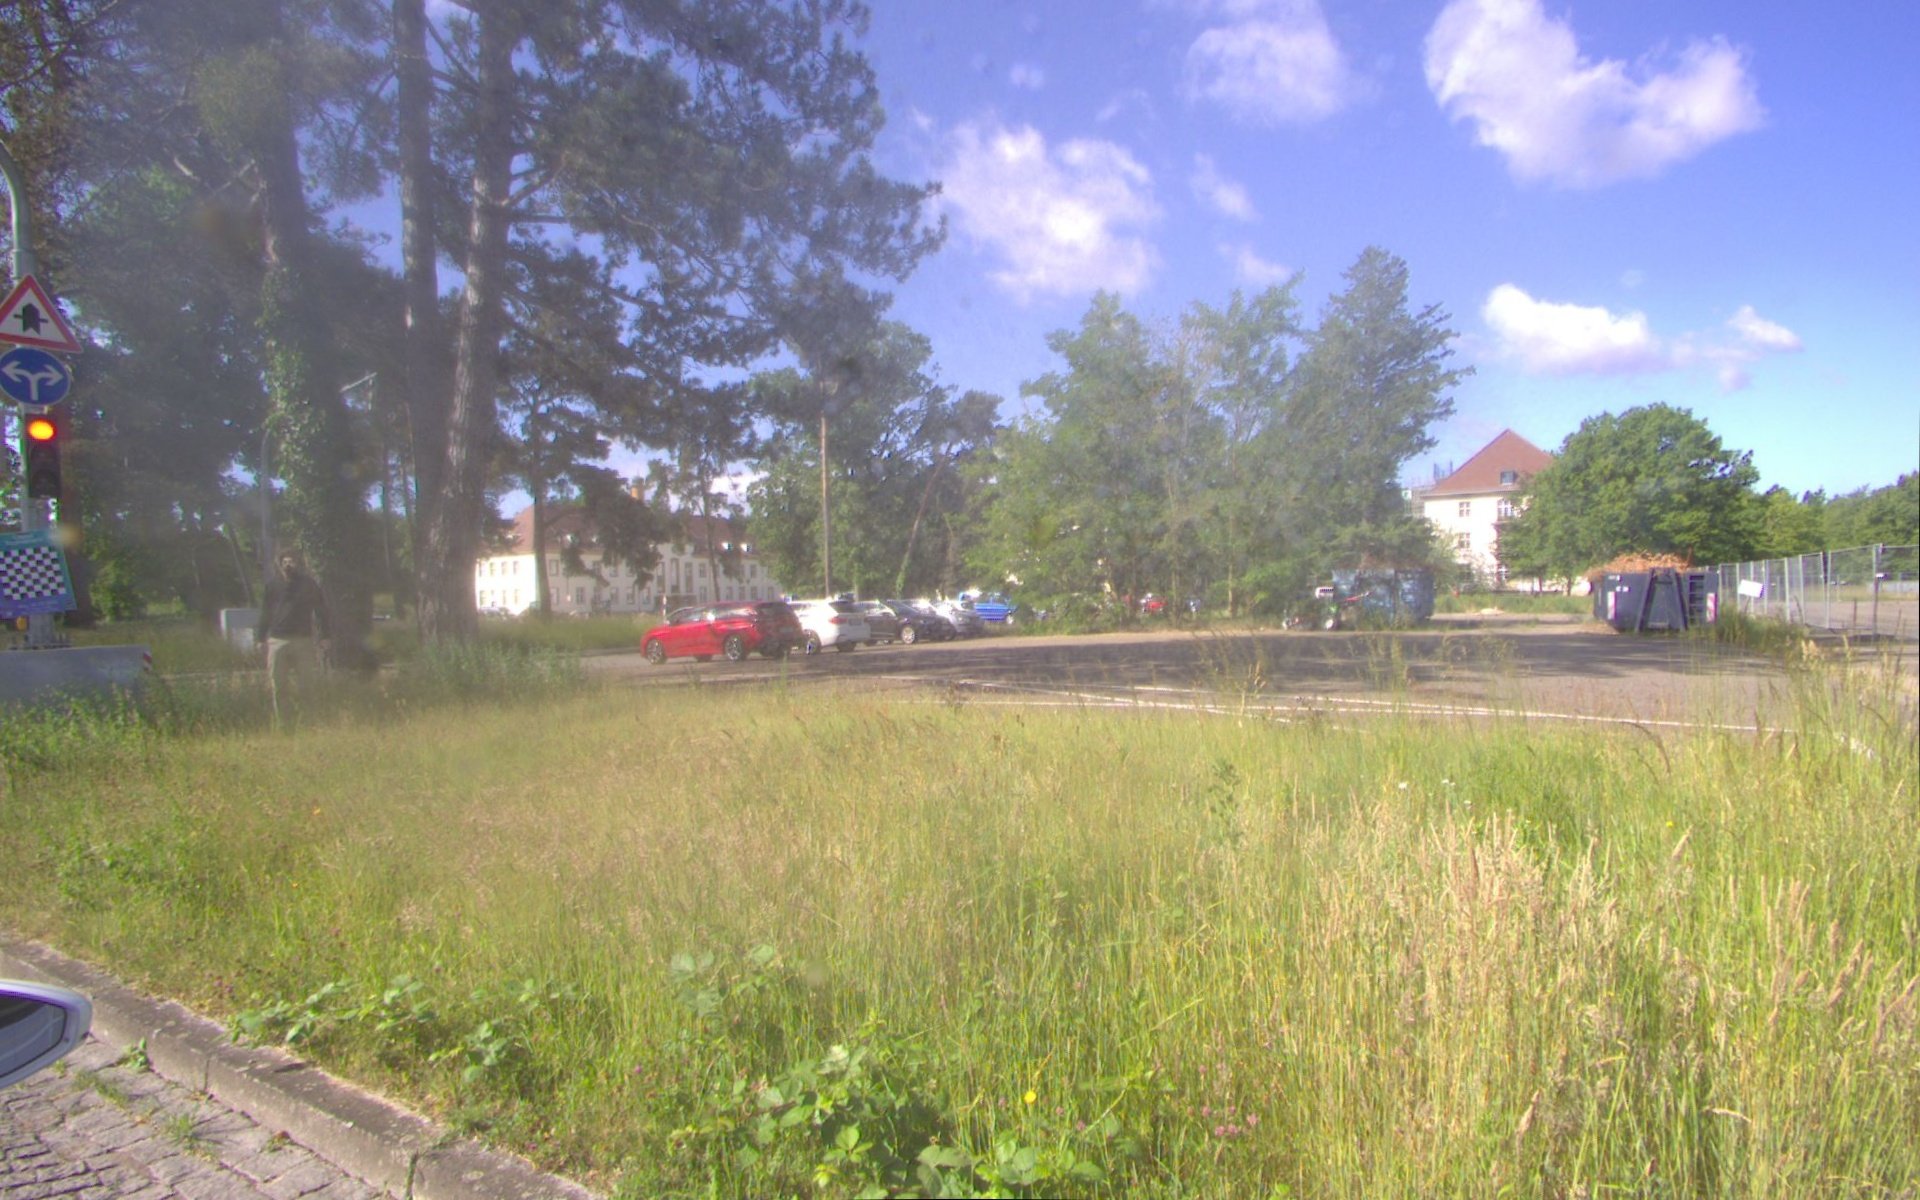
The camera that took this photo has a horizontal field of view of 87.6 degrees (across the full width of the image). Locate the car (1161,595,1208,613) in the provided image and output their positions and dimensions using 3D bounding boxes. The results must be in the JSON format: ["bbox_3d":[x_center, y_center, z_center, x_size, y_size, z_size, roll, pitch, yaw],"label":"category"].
[{"bbox_3d":[19.631,0.366,87.556,3.681,1.568,1.705,-1,-1,32],"label":"car"}]

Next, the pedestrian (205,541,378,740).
[{"bbox_3d":[-6.522,0.358,9.868,1.152,1.820,1.059,-2,1,-21],"label":"pedestrian"}]

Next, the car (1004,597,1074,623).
[{"bbox_3d":[5.048,0.644,64.133,4.180,1.568,1.720,-1,-1,32],"label":"car"}]

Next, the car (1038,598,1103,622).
[{"bbox_3d":[7.661,0.700,69.372,4.180,1.568,1.720,-1,-1,32],"label":"car"}]

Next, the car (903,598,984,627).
[{"bbox_3d":[-0.912,0.704,55.044,4.180,1.487,1.720,-1,-1,32],"label":"car"}]

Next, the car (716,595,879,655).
[{"bbox_3d":[-4.436,0.684,27.226,4.179,1.396,1.776,-3,-1,30],"label":"car"}]

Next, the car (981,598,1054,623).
[{"bbox_3d":[3.504,0.642,61.532,4.180,1.443,1.720,-1,-1,32],"label":"car"}]

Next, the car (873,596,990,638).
[{"bbox_3d":[-0.996,0.602,34.487,3.739,1.390,1.720,-1,-1,34],"label":"car"}]

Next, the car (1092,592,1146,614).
[{"bbox_3d":[11.992,0.260,75.742,3.681,1.568,1.705,-1,-1,32],"label":"car"}]

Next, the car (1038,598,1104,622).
[{"bbox_3d":[7.675,0.699,69.363,4.180,1.568,1.720,-1,-1,32],"label":"car"}]

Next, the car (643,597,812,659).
[{"bbox_3d":[-5.768,0.706,24.664,4.071,1.417,1.652,-2,-1,32],"label":"car"}]

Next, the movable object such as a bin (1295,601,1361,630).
[{"bbox_3d":[10.496,0.445,28.548,1.696,0.762,1.143,-1,0,25],"label":"movable object such as a bin"}]

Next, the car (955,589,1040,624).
[{"bbox_3d":[2.183,0.393,59.208,4.676,1.973,1.982,-1,-1,32],"label":"car"}]

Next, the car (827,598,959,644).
[{"bbox_3d":[-2.146,0.656,31.791,3.987,1.332,1.612,-1,1,33],"label":"car"}]
